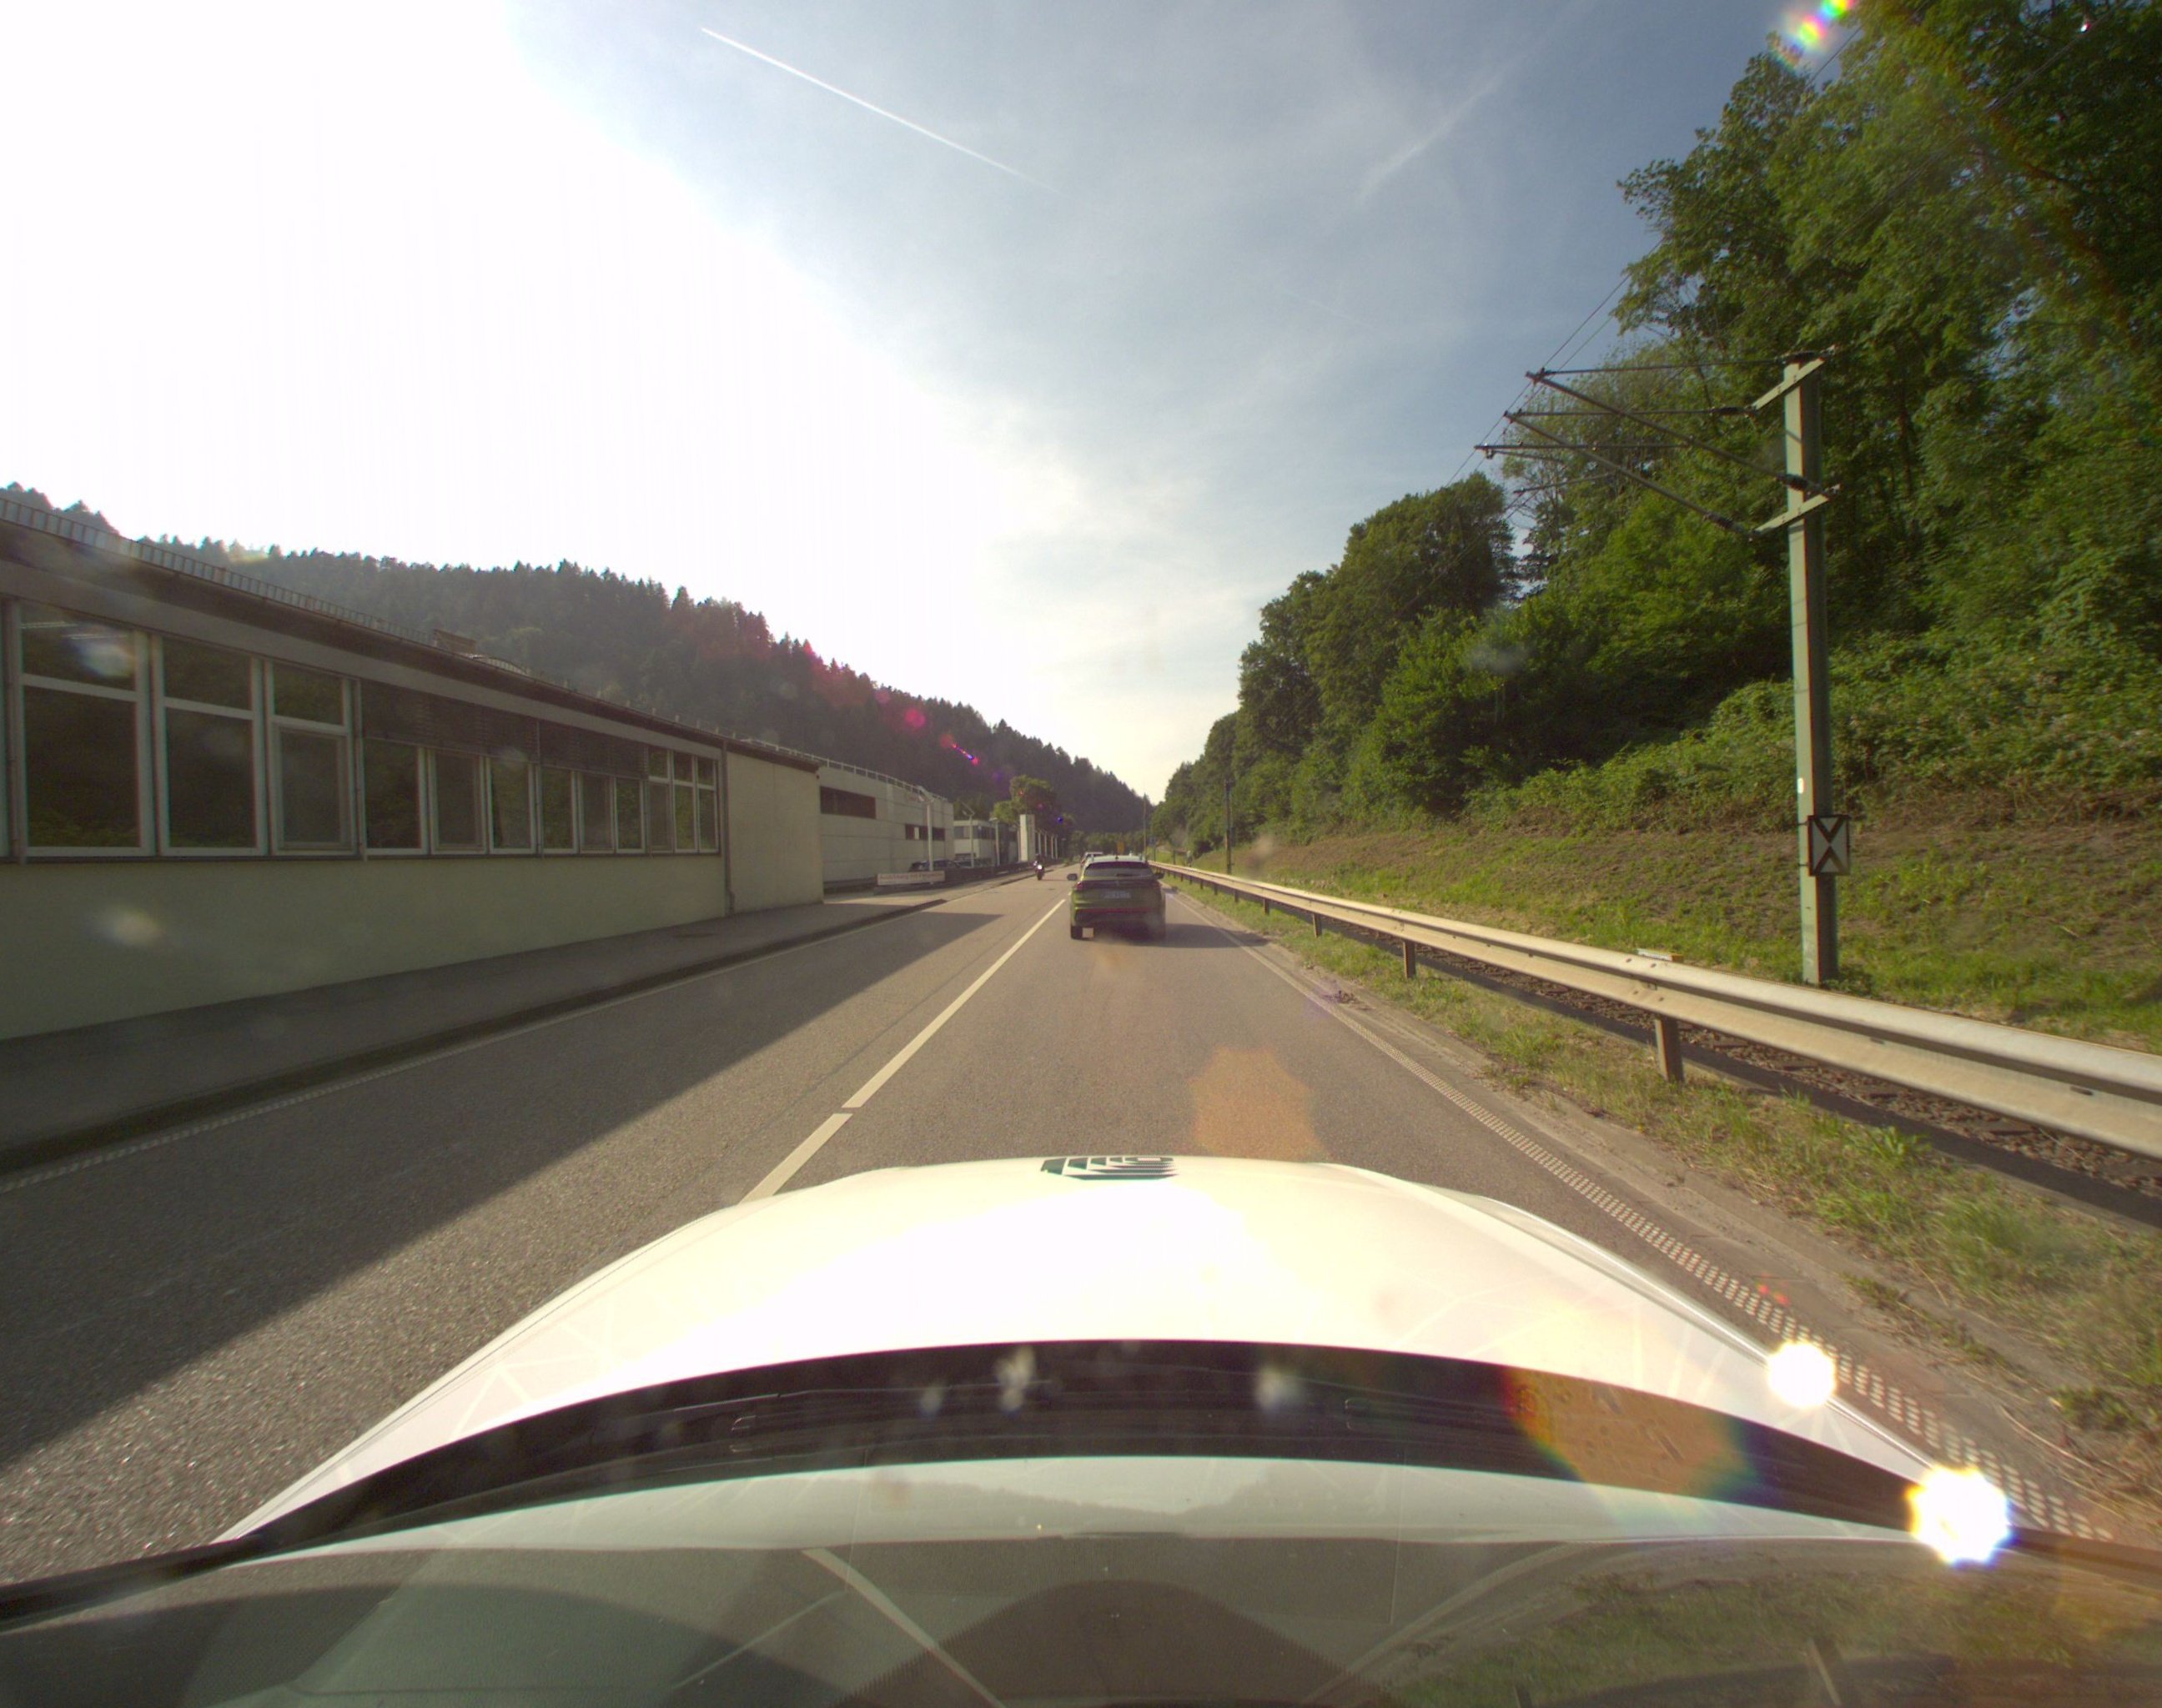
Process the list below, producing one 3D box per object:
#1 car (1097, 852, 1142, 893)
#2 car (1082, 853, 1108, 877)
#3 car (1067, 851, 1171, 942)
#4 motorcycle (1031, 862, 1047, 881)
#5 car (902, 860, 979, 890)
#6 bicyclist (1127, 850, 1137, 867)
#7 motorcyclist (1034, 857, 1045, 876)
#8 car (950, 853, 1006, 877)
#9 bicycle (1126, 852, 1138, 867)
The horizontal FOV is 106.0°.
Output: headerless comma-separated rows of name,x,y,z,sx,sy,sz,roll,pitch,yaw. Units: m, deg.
car,1.568,0.725,33.905,1.733,1.602,4.001,-1,0,1
car,0.971,0.718,56.311,1.733,1.602,4.001,-1,0,1
car,0.692,0.717,15.866,1.733,1.508,4.001,-1,0,1
motorcycle,-2.483,1.006,48.525,0.738,1.068,2.493,-2,0,2
car,-8.280,1.213,48.380,1.865,1.591,4.200,-2,0,43
bicyclist,4.386,0.413,70.079,0.779,1.412,0.675,-2,0,0
motorcyclist,-2.454,0.725,48.296,0.583,1.124,0.637,-2,0,2
car,-8.006,0.860,63.747,1.759,1.708,4.135,-2,0,43
bicycle,4.373,0.505,70.072,0.809,1.250,2.122,-2,0,0
